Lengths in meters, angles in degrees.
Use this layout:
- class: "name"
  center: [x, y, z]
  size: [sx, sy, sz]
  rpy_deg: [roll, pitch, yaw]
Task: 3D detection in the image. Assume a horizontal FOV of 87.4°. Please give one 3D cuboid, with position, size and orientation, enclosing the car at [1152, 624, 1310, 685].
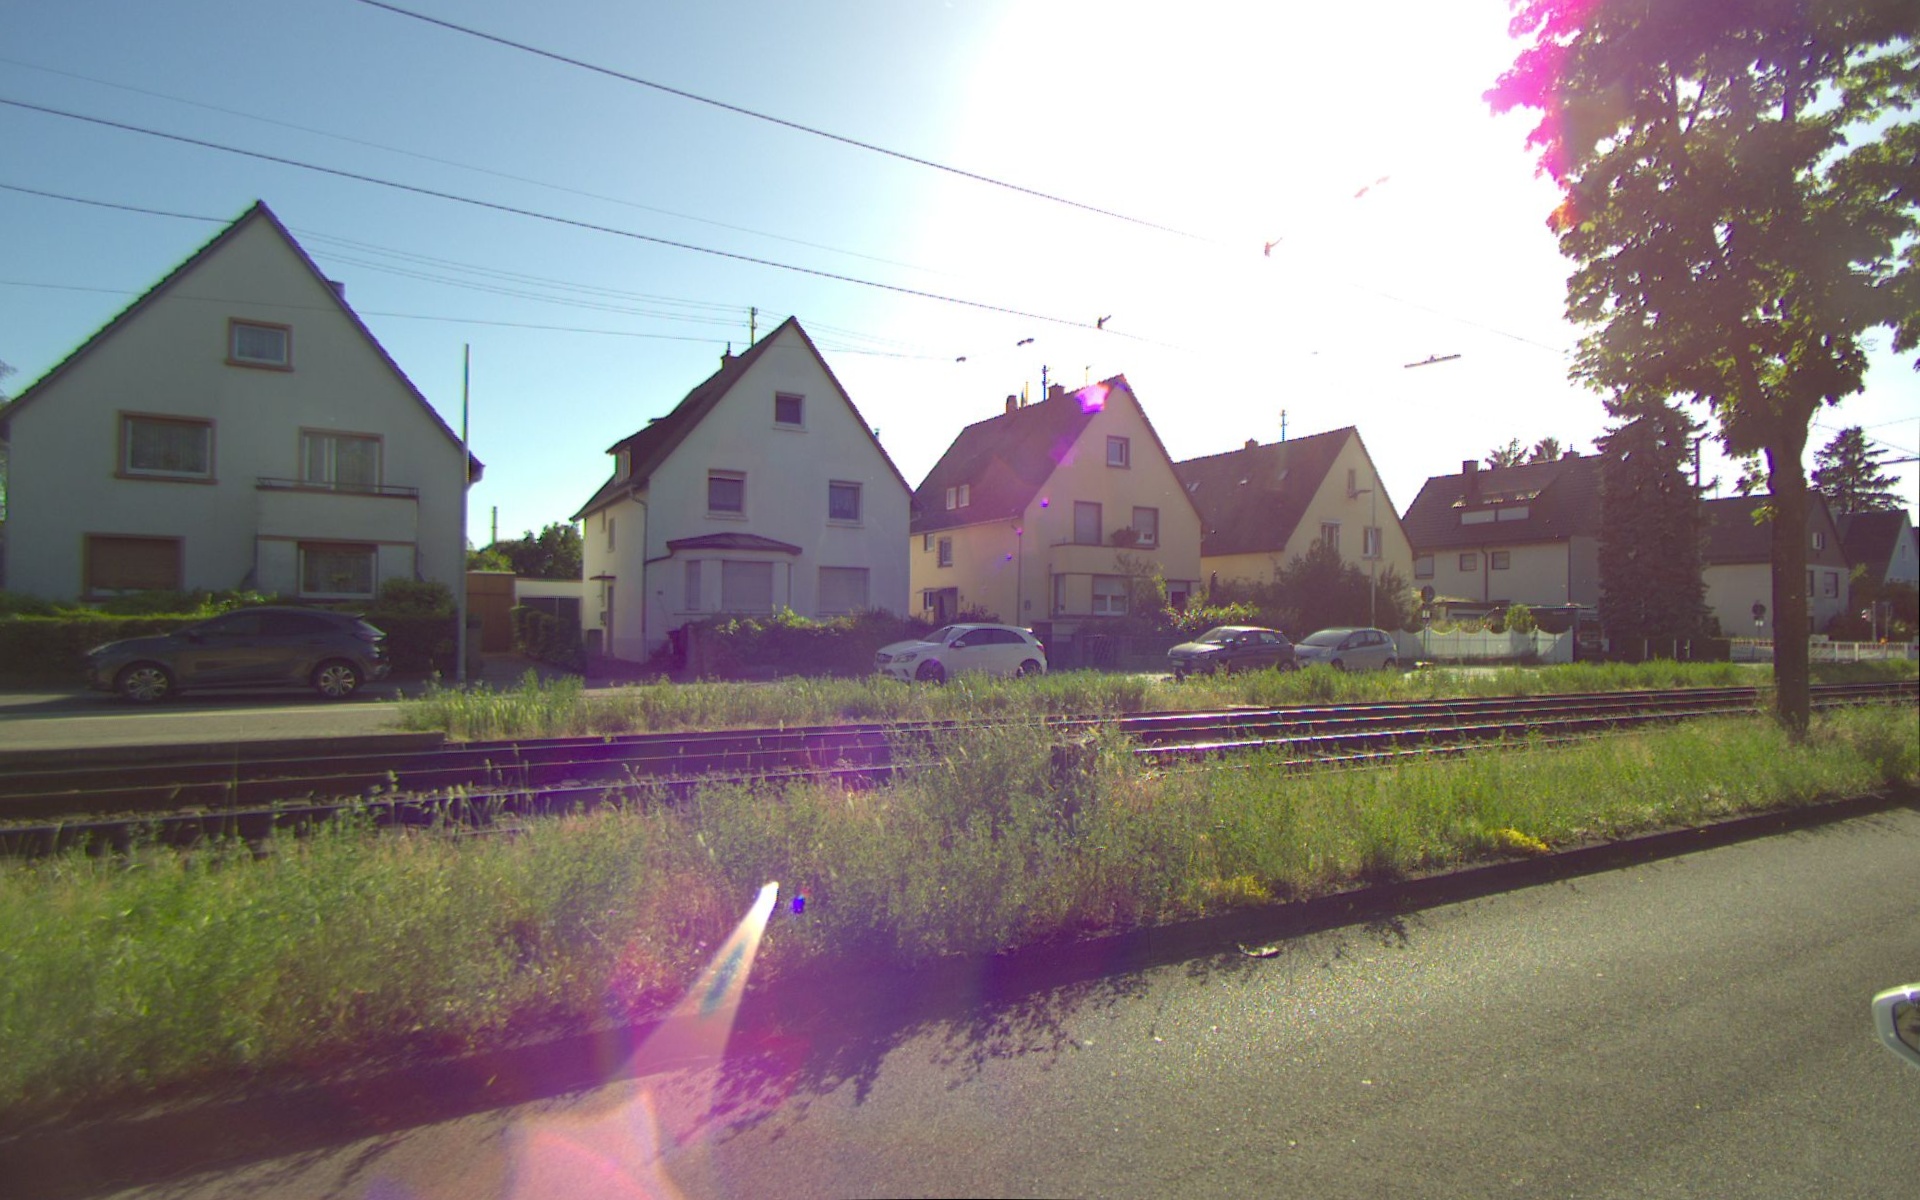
- class: "car"
  center: [7.661, 1.511, 28.380]
  size: [4.080, 1.469, 1.983]
  rpy_deg: [2, 2, -31]

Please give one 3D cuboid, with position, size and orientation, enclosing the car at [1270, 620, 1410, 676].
- class: "car"
  center: [11.681, 1.464, 30.870]
  size: [4.009, 1.574, 1.937]
  rpy_deg: [2, 0, -31]

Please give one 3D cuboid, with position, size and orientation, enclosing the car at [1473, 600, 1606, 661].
- class: "car"
  center: [26.737, 1.382, 46.534]
  size: [2.077, 2.660, 5.005]
  rpy_deg: [1, -1, -30]

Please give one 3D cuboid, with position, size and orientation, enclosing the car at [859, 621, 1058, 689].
- class: "car"
  center: [-0.020, 1.296, 24.055]
  size: [4.356, 1.445, 1.985]
  rpy_deg: [2, 0, -29]

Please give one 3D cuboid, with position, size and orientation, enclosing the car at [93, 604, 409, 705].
- class: "car"
  center: [-11.880, 0.890, 17.233]
  size: [4.207, 1.515, 1.916]
  rpy_deg: [2, 0, -31]
